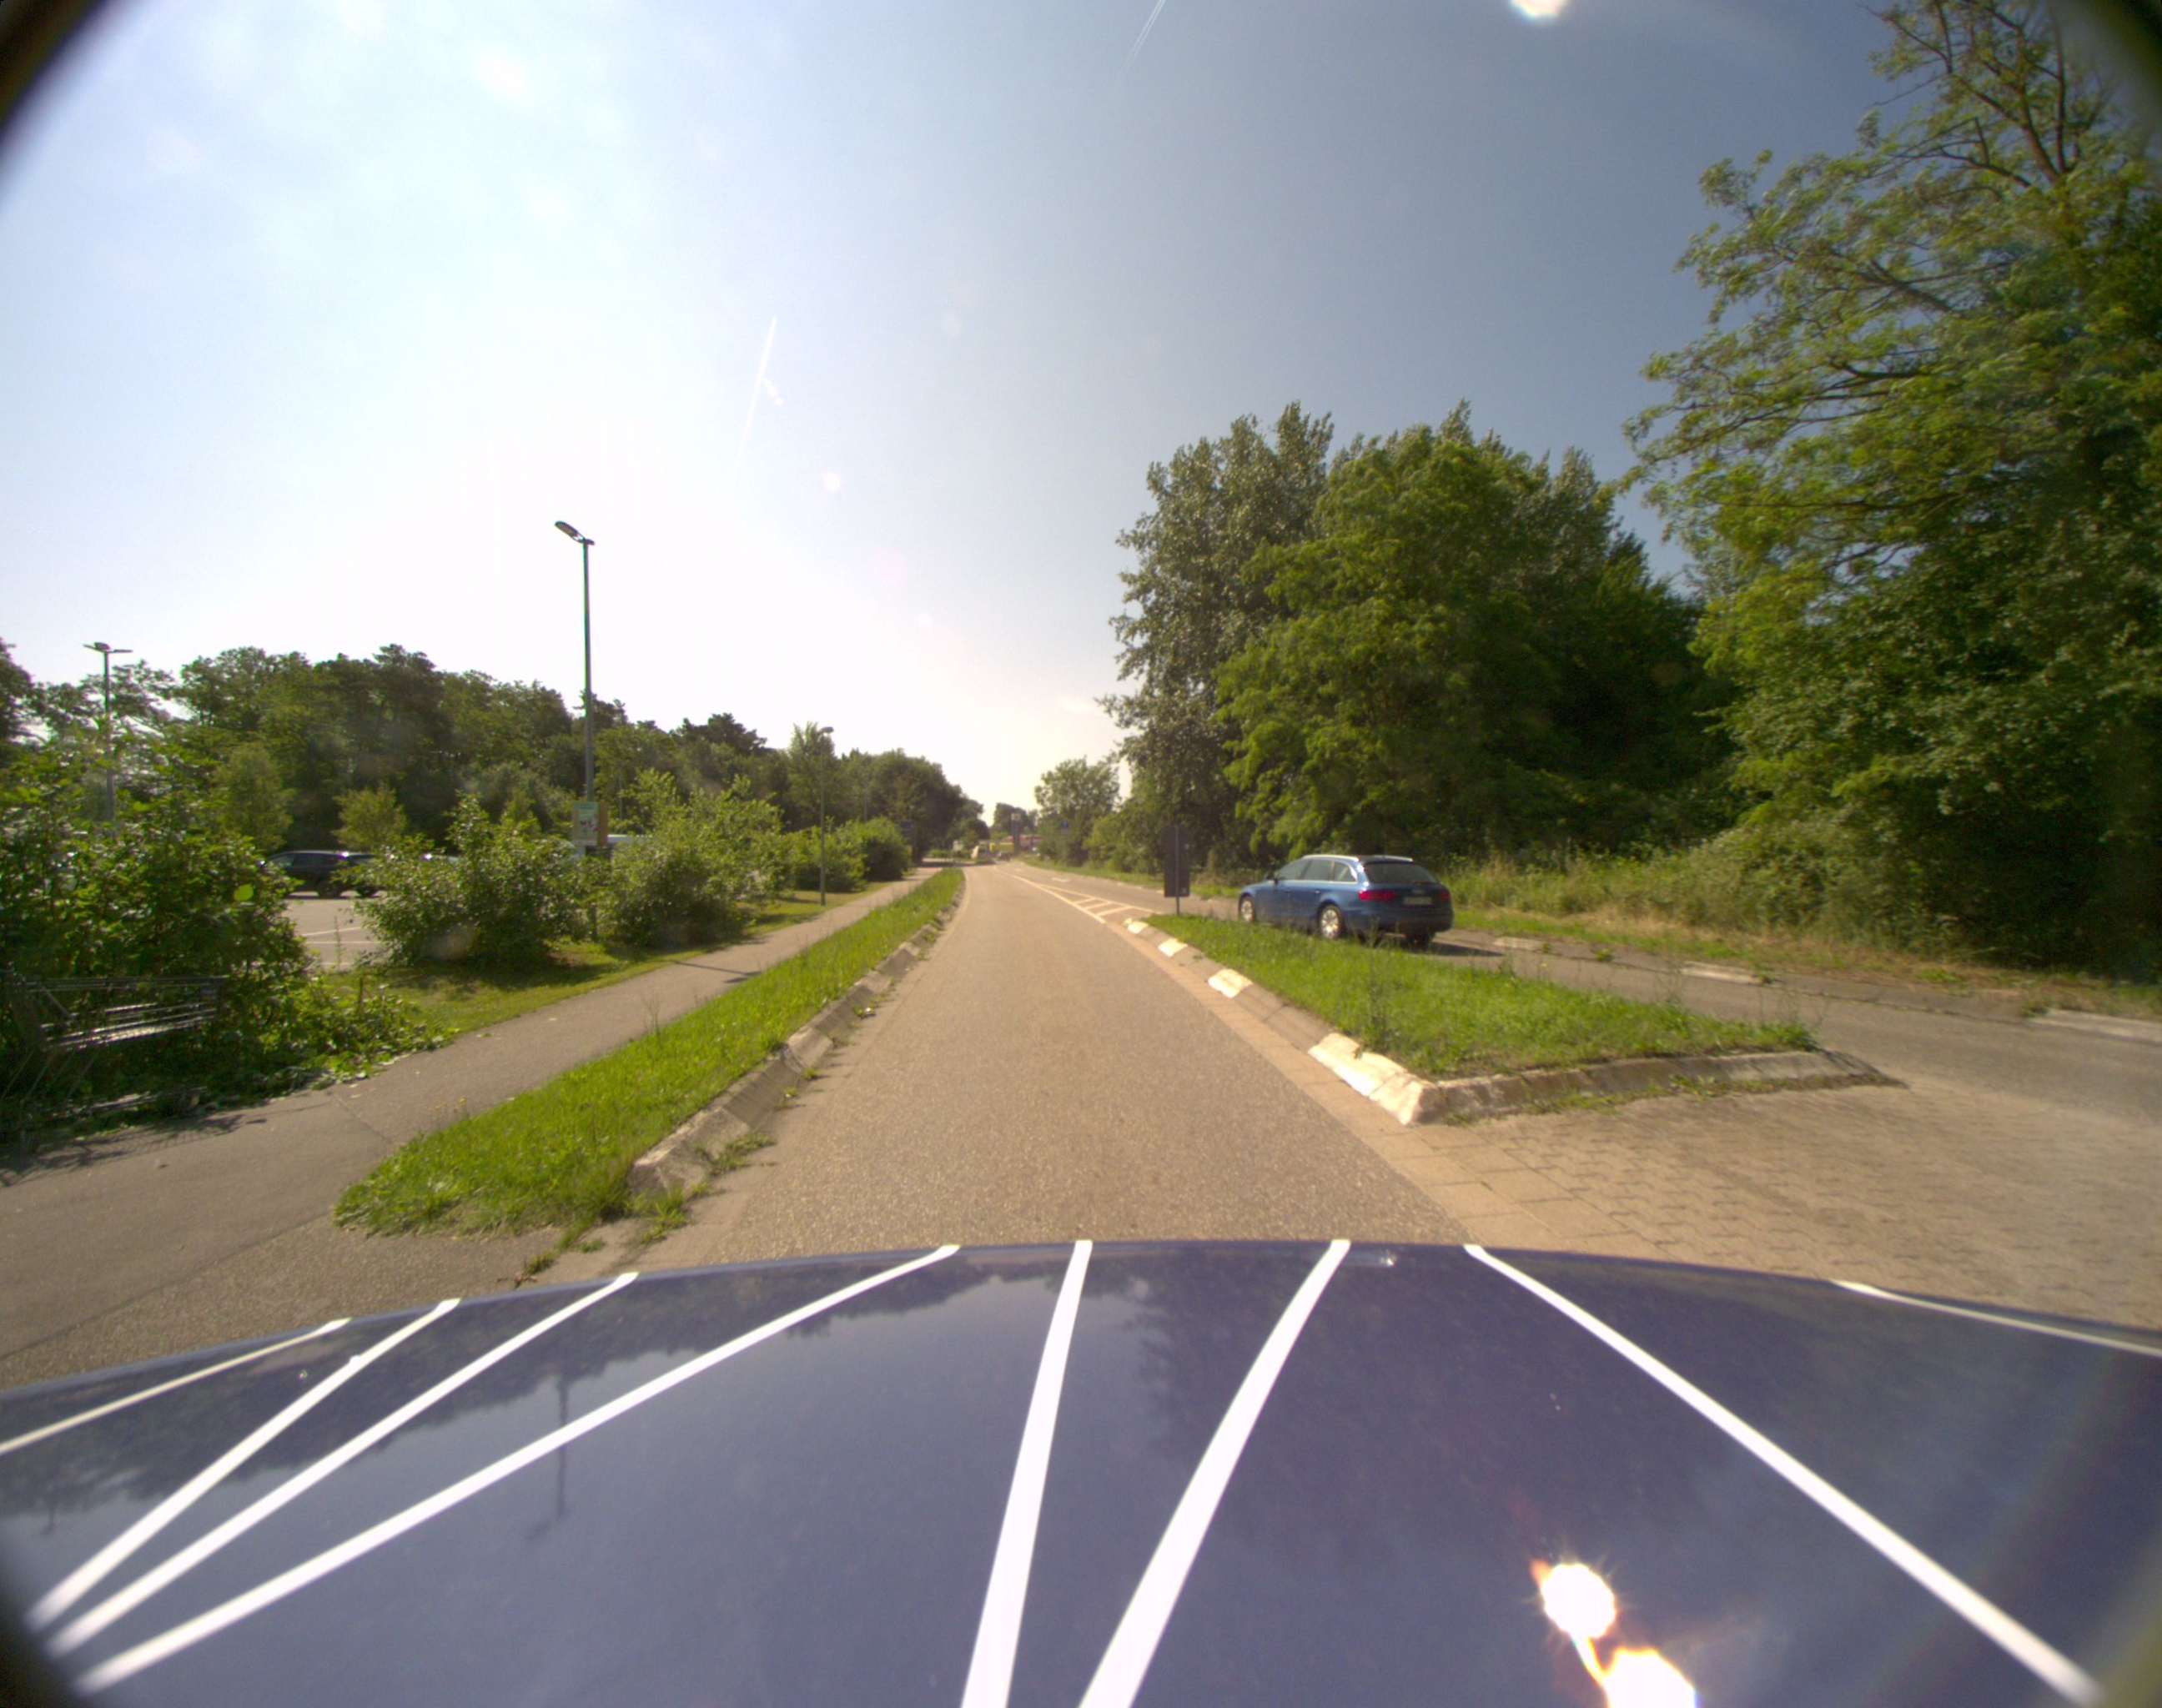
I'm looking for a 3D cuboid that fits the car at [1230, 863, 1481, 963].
[{"bbox_3d":[4.431,0.862,13.139,1.840,1.379,4.417,0,0,-16],"label":"car"}]

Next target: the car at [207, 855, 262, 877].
[{"bbox_3d":[-60.894,0.842,54.716,1.666,1.477,4.361,0,1,-35],"label":"car"}]

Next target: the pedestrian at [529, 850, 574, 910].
[{"bbox_3d":[-16.291,0.786,23.403,0.821,1.787,0.866,0,1,-7],"label":"pedestrian"}]

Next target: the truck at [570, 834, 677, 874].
[{"bbox_3d":[-29.983,-0.003,49.976,5.618,2.590,2.201,0,1,-10],"label":"truck"}]

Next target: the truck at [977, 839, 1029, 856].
[{"bbox_3d":[-16.020,-1.401,156.584,10.343,3.374,3.880,0,1,-11],"label":"truck"}]

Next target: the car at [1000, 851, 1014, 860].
[{"bbox_3d":[-11.045,0.221,113.410,1.704,1.381,4.290,-1,0,-10],"label":"car"}]

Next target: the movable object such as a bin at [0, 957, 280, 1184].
[{"bbox_3d":[-6.479,1.341,4.966,0.869,1.114,1.457,-1,1,19],"label":"movable object such as a bin"}]

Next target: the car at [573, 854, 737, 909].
[{"bbox_3d":[-13.255,0.833,23.869,4.132,1.618,1.751,0,0,-8],"label":"car"}]

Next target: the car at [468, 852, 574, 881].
[{"bbox_3d":[-28.903,0.604,39.366,3.978,1.444,1.901,0,1,-19],"label":"car"}]

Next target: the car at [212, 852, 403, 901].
[{"bbox_3d":[-26.534,0.732,26.243,4.167,1.565,1.998,-1,1,-11],"label":"car"}]

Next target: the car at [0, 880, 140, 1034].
[{"bbox_3d":[-13.100,1.084,8.077,3.606,1.553,1.812,1,0,-9],"label":"car"}]

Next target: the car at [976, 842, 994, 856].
[{"bbox_3d":[-17.206,-0.911,135.842,1.920,2.386,4.900,-1,1,-25],"label":"car"}]

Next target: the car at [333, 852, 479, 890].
[{"bbox_3d":[-27.146,0.653,30.703,4.002,1.419,1.747,0,1,-16],"label":"car"}]

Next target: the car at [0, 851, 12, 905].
[{"bbox_3d":[-35.452,0.852,22.102,4.567,1.692,1.995,-3,2,-35],"label":"car"}]
